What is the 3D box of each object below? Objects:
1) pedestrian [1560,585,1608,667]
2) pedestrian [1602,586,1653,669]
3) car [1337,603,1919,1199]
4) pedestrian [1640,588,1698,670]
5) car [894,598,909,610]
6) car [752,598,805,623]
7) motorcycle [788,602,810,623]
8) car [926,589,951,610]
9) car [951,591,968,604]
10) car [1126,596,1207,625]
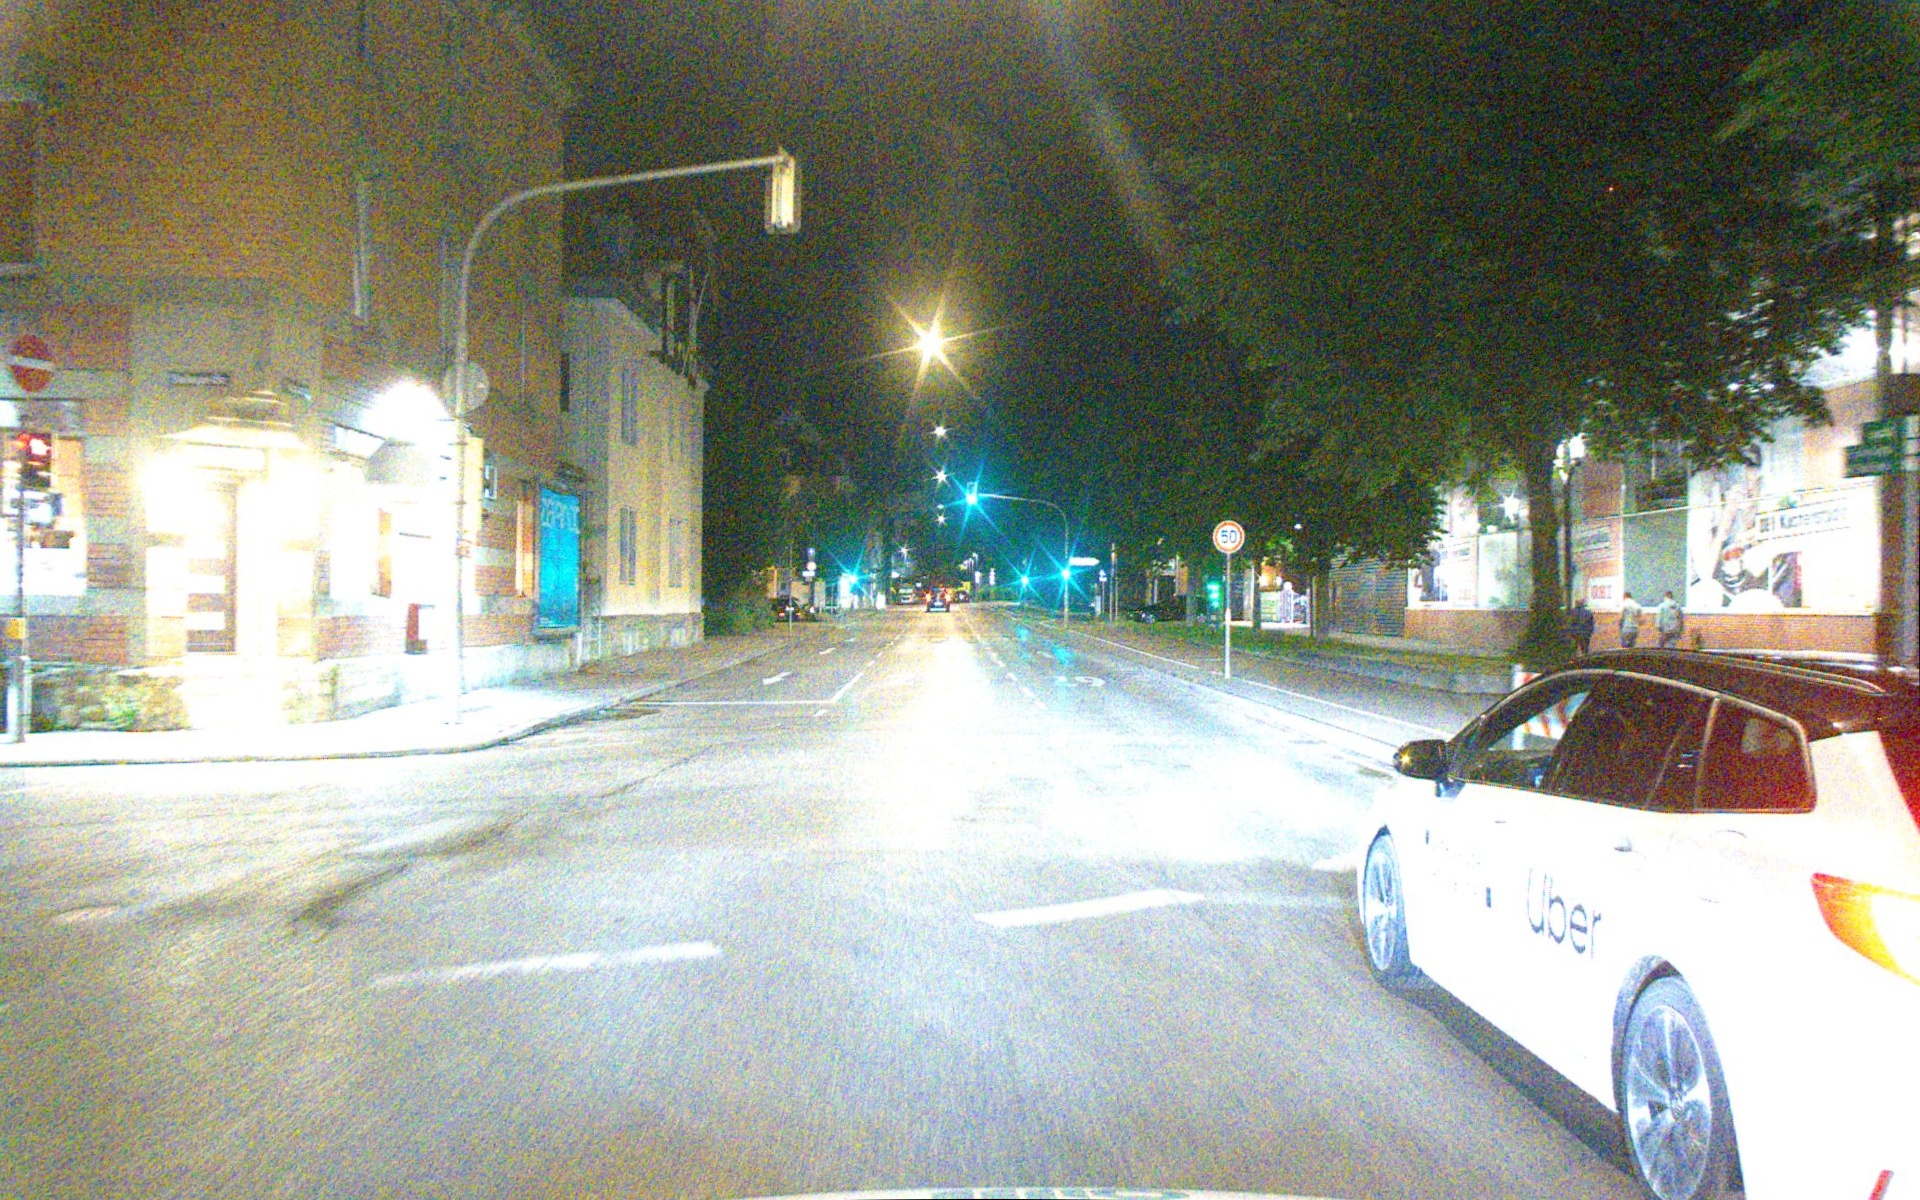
[{"bbox_3d":[13.752,0.565,36.474,0.699,1.800,0.907,0,0,-1],"label":"pedestrian"},{"bbox_3d":[14.756,0.606,36.574,0.724,1.800,0.907,0,0,-1],"label":"pedestrian"},{"bbox_3d":[2.598,0.775,5.205,1.694,1.460,4.209,2,0,-2],"label":"car"},{"bbox_3d":[15.800,0.636,36.873,0.882,1.800,0.907,0,0,-1],"label":"pedestrian"},{"bbox_3d":[-6.877,0.463,195.116,1.742,1.414,3.998,0,0,-3],"label":"car"},{"bbox_3d":[-11.446,0.634,104.292,1.786,1.512,3.956,0,0,-32],"label":"car"},{"bbox_3d":[-9.880,0.753,101.378,0.769,1.225,2.436,0,0,-19],"label":"motorcycle"},{"bbox_3d":[-1.761,-0.062,133.914,1.953,1.668,3.998,0,0,-2],"label":"car"},{"bbox_3d":[-0.112,-0.316,210.025,1.954,1.624,3.997,0,0,-3],"label":"car"},{"bbox_3d":[10.325,0.520,82.954,3.904,1.411,1.772,0,0,2],"label":"car"}]
